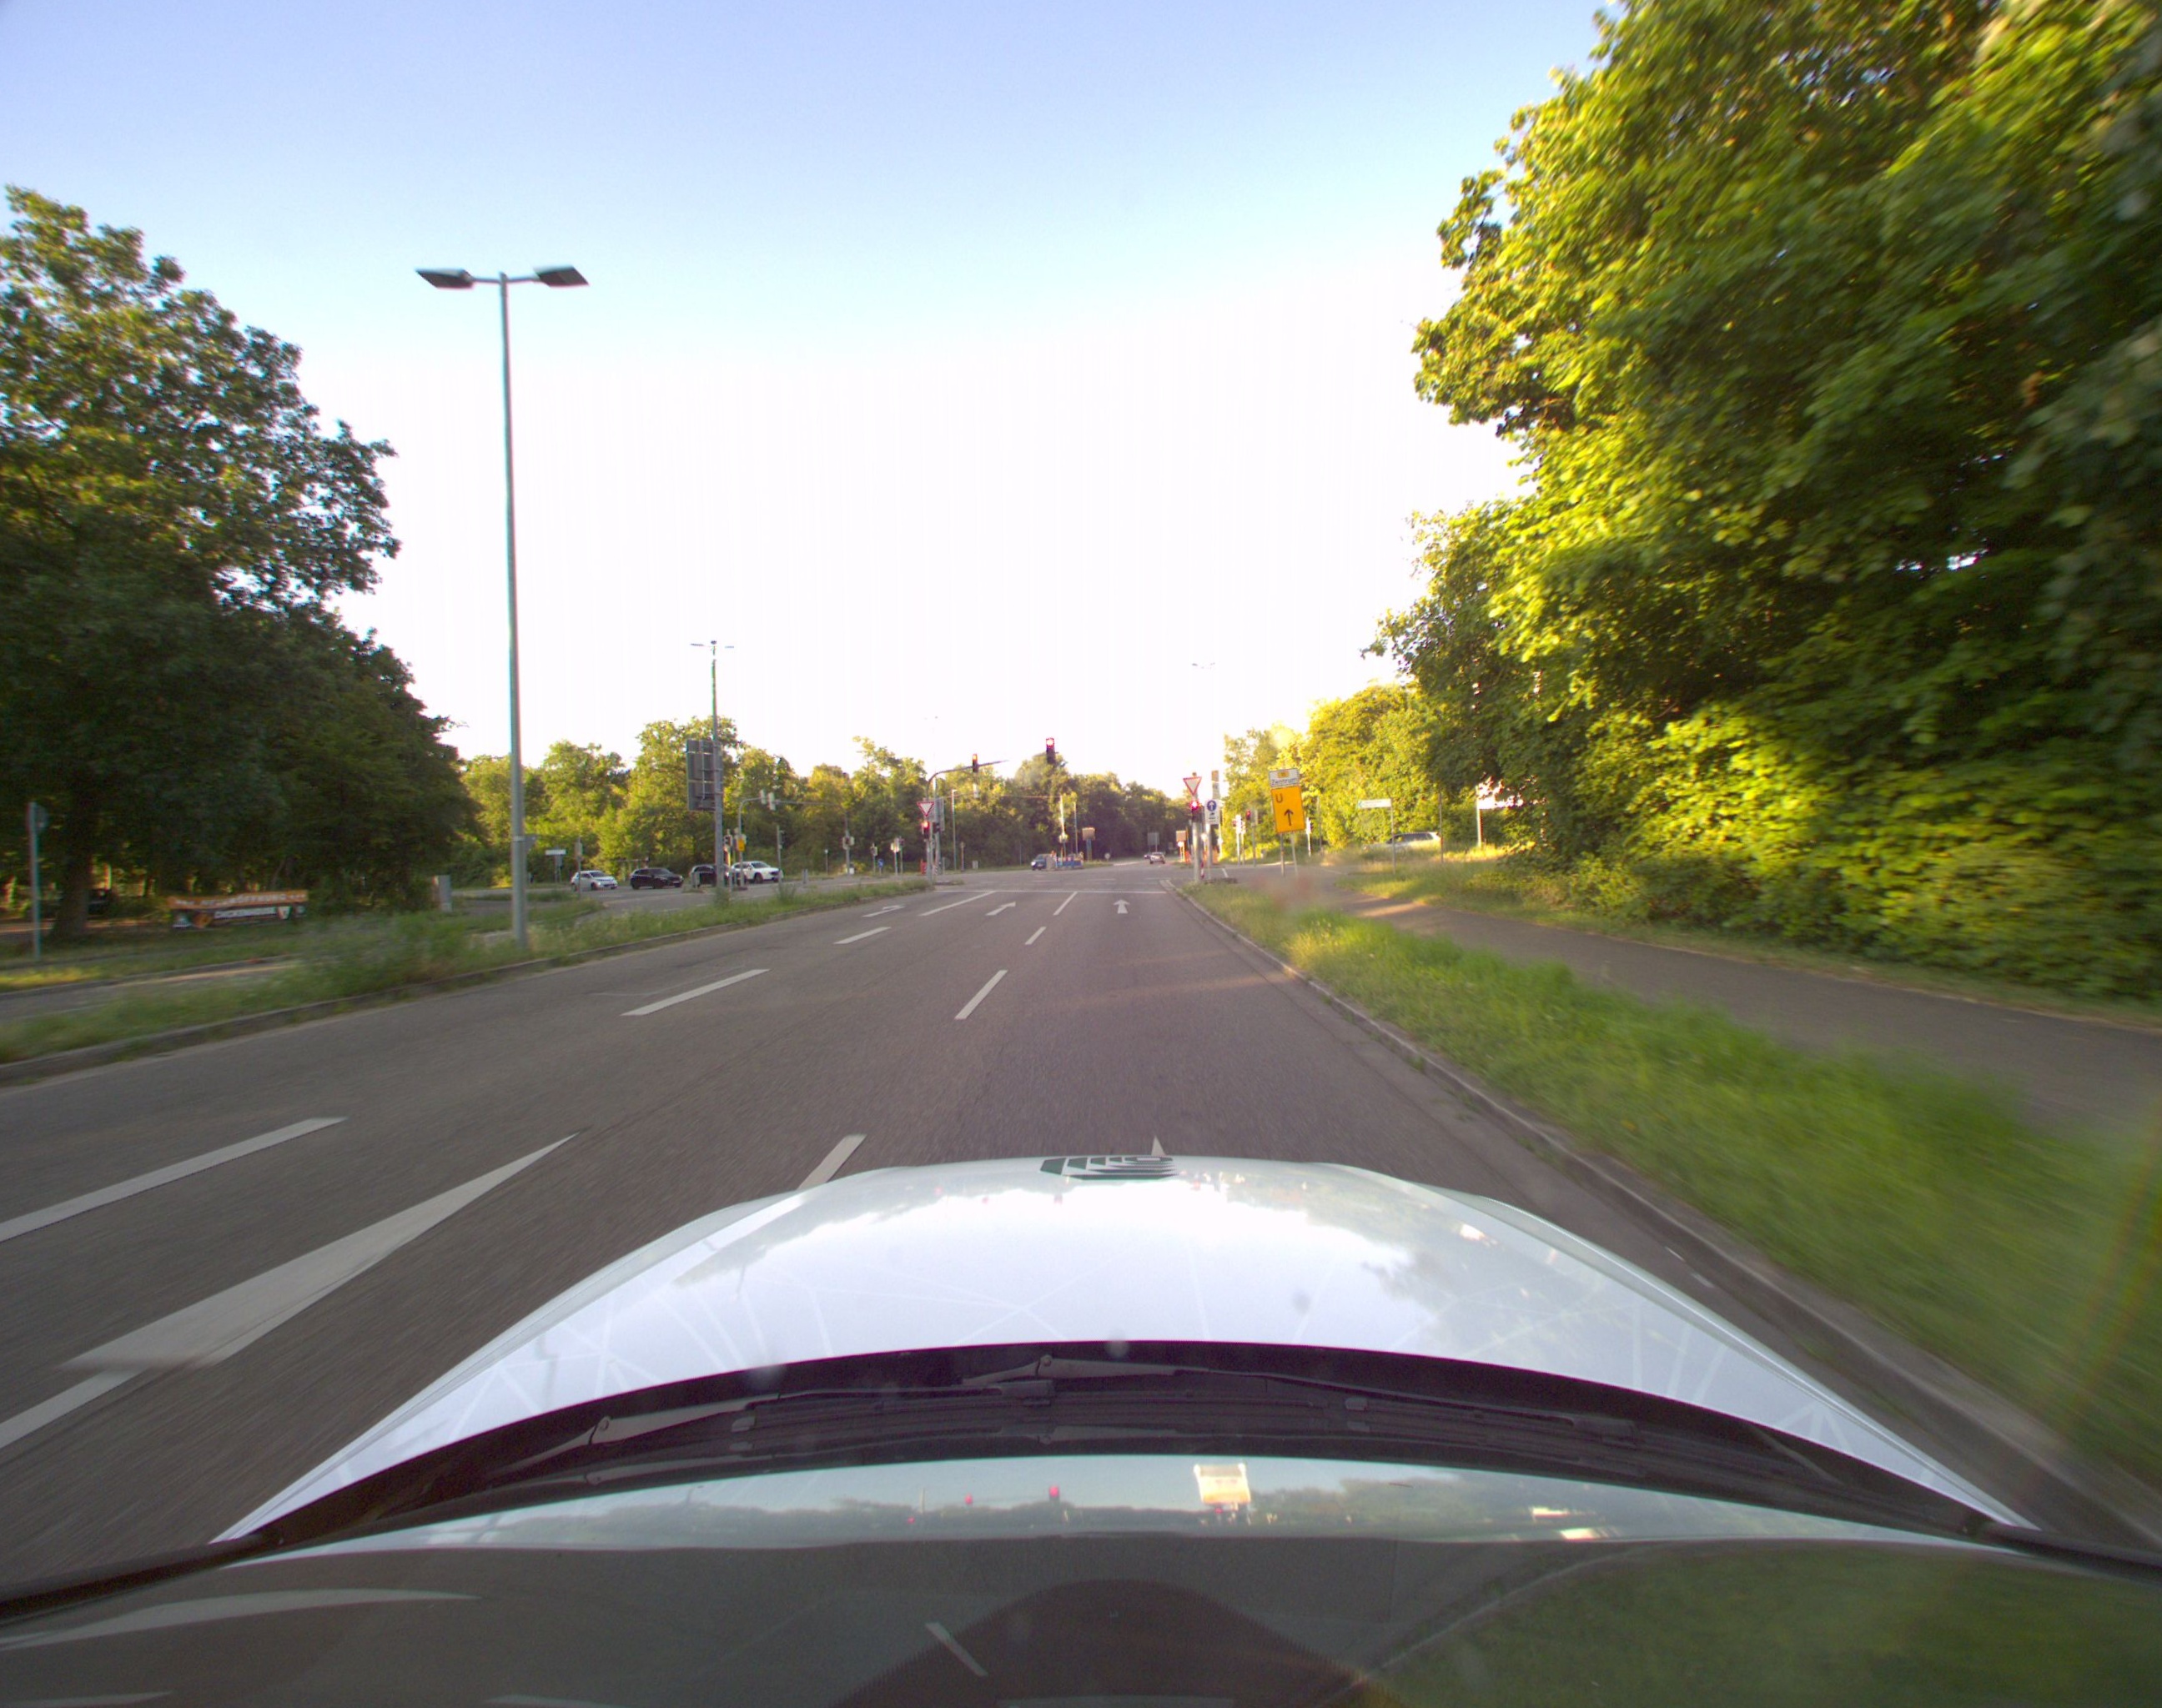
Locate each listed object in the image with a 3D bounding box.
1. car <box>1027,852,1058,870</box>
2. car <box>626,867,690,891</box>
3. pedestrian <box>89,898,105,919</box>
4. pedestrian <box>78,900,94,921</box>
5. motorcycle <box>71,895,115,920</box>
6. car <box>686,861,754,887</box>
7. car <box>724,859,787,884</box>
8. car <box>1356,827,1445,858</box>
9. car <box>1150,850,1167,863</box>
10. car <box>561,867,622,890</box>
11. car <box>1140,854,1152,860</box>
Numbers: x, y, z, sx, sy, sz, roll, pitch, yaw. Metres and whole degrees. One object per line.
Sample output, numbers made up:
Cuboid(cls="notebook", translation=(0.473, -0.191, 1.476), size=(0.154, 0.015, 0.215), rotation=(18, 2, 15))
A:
Cuboid(cls="car", translation=(-3.449, 0.612, 74.267), size=(1.983, 1.529, 4.688), rotation=(-2, 0, 7))
Cuboid(cls="car", translation=(-31.522, 1.880, 60.710), size=(4.204, 1.640, 2.012), rotation=(-2, 0, 25))
Cuboid(cls="pedestrian", translation=(-44.961, 2.488, 37.217), size=(0.372, 0.925, 0.323), rotation=(-3, 0, 21))
Cuboid(cls="pedestrian", translation=(-45.079, 2.553, 36.900), size=(0.372, 0.918, 0.323), rotation=(-3, 0, 21))
Cuboid(cls="motorcycle", translation=(-44.975, 2.438, 37.095), size=(0.379, 1.018, 1.183), rotation=(-3, 0, 22))
Cuboid(cls="car", translation=(-25.289, 1.408, 56.996), size=(4.204, 1.640, 2.012), rotation=(-2, 0, 25))
Cuboid(cls="car", translation=(-24.354, 1.300, 60.906), size=(4.204, 1.640, 2.012), rotation=(-2, 0, 25))
Cuboid(cls="car", translation=(19.115, -0.665, 48.743), size=(4.771, 1.598, 2.012), rotation=(-3, 0, 25))
Cuboid(cls="car", translation=(9.969, 0.313, 103.977), size=(1.983, 1.618, 4.008), rotation=(-2, 0, 7))
Cuboid(cls="car", translation=(-38.718, 1.962, 64.422), size=(4.205, 1.640, 2.011), rotation=(-2, 0, 23))
Cuboid(cls="car", translation=(15.339, 0.703, 192.061), size=(1.978, 1.420, 4.017), rotation=(-2, 0, 16))
